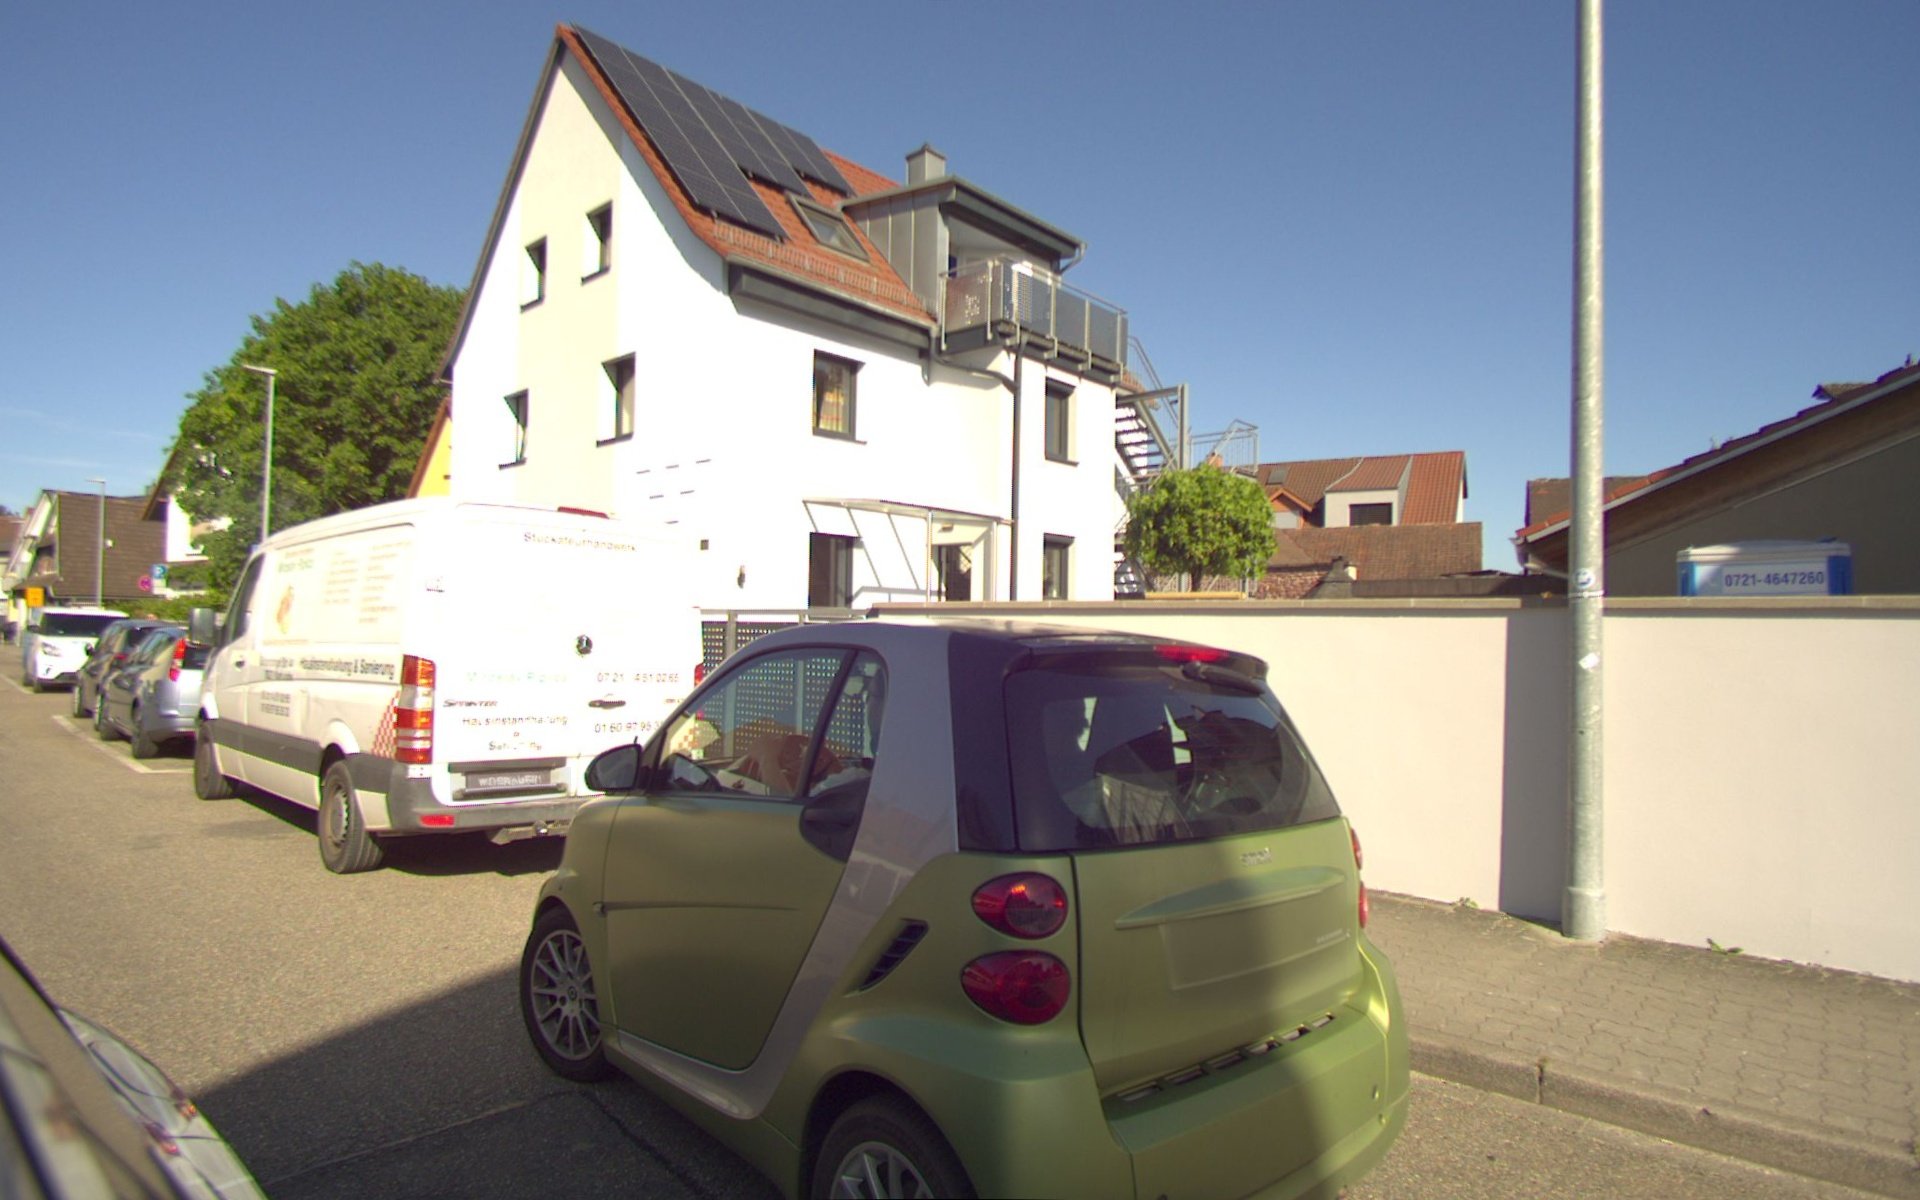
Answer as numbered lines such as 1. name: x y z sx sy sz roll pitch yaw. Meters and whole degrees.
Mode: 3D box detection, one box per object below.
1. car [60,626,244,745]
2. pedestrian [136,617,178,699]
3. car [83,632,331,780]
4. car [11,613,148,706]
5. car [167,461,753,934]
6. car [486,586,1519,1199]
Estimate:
1. car: -12.684 1.230 15.802 3.926 1.610 1.695 -1 -3 44
2. pedestrian: -17.739 1.262 22.358 0.884 1.762 0.610 -2 -2 44
3. car: -9.389 1.181 12.483 4.235 1.516 1.692 -2 -4 43
4. car: -20.373 1.304 23.340 5.071 1.932 1.881 -1 -3 44
5. car: -4.338 0.592 8.060 6.065 2.408 2.172 -2 -3 43
6. car: -0.162 0.839 3.134 1.554 1.558 2.970 4 -4 -41
